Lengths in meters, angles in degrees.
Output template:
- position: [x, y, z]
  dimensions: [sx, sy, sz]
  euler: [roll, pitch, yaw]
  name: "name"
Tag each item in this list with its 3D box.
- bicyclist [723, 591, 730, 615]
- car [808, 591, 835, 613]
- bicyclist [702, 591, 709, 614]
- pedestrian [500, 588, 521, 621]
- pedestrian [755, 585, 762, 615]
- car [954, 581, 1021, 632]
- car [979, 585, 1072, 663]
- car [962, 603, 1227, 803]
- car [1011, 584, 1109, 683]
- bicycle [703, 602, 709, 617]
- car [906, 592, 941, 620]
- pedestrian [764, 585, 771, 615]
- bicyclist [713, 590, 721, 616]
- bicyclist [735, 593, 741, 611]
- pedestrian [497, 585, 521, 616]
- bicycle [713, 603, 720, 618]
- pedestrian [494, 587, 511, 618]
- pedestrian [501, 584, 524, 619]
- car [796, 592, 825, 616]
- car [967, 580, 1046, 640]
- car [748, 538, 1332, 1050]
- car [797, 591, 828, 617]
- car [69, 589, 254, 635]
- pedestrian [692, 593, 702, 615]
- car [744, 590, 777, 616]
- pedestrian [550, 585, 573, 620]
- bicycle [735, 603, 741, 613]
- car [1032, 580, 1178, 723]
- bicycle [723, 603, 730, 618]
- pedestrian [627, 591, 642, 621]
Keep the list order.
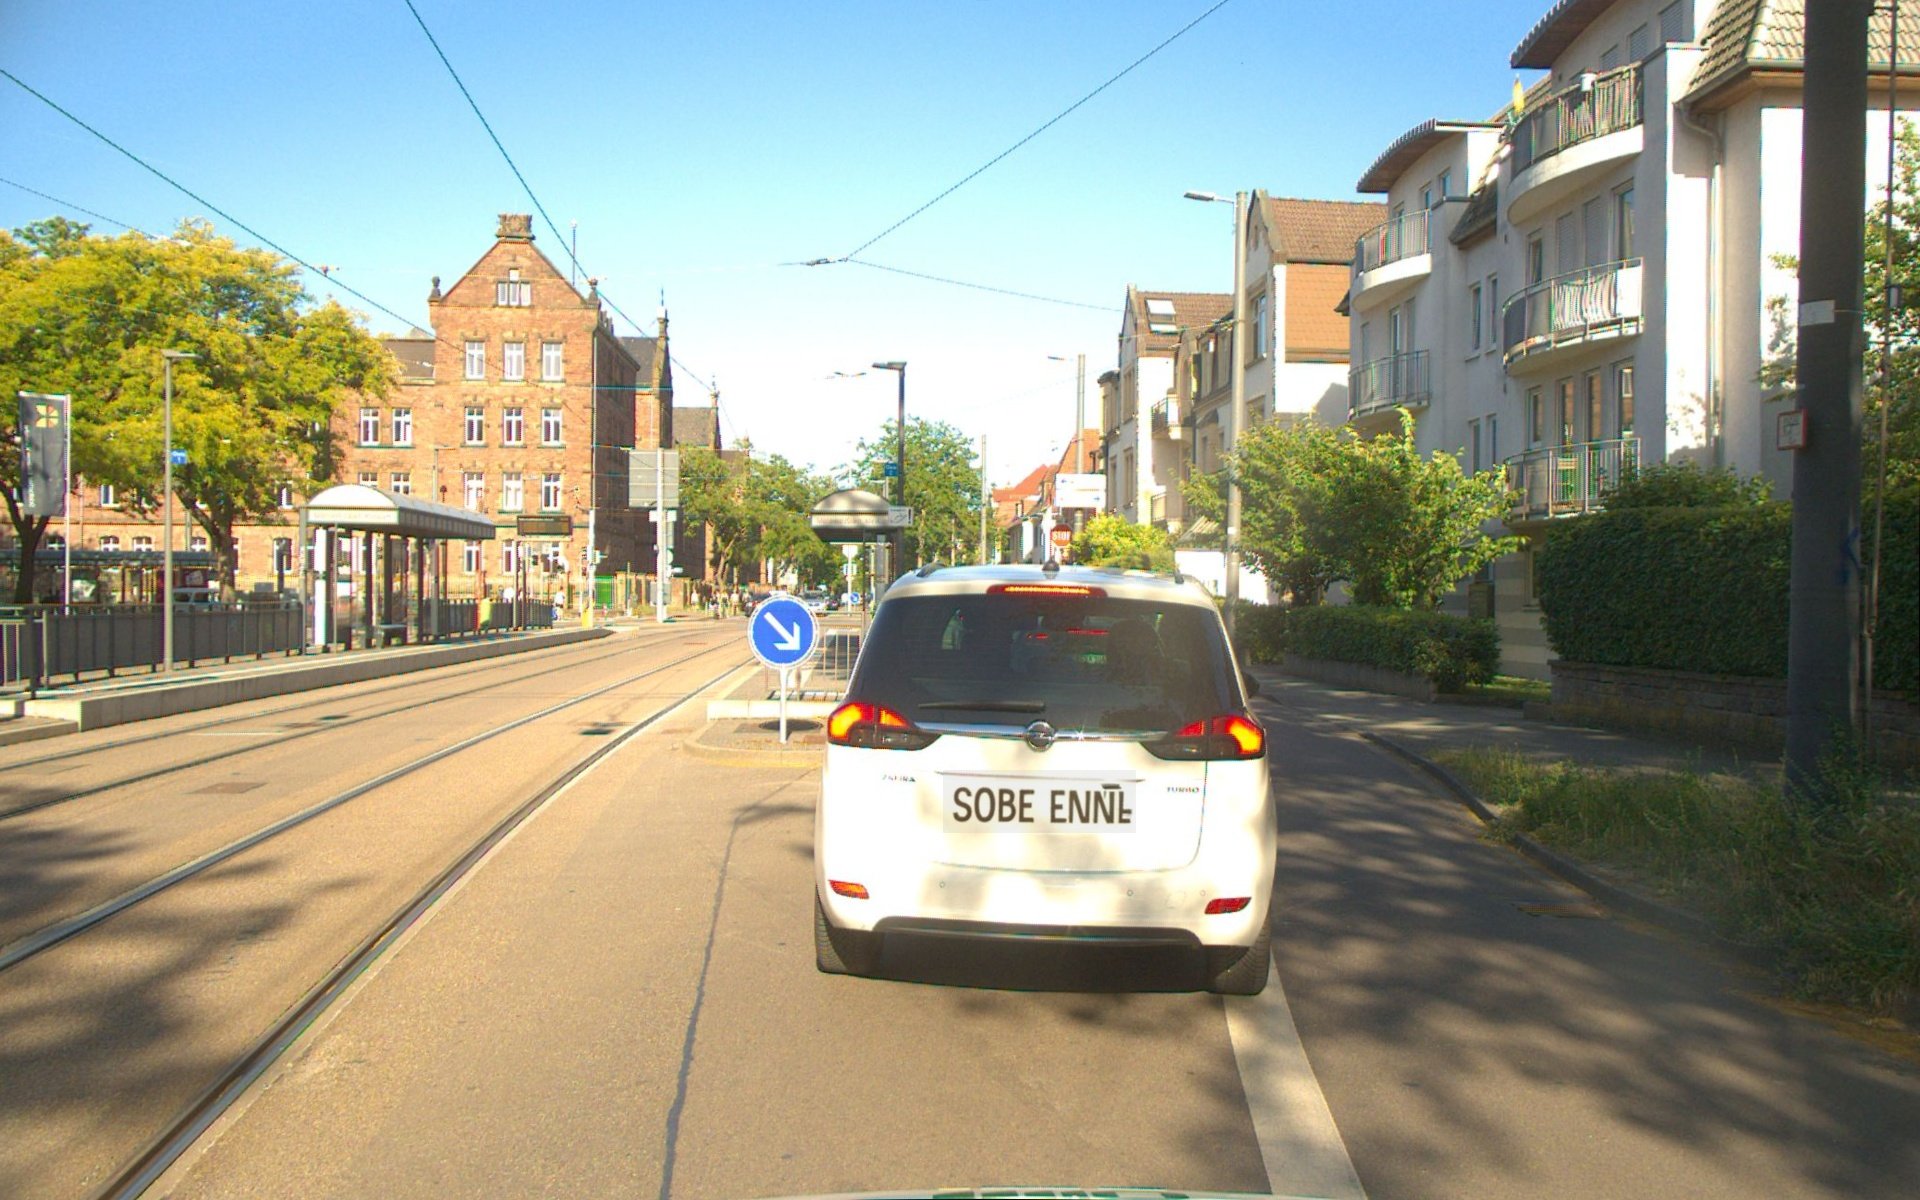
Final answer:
- position: [-15.378, 0.198, 108.912]
  dimensions: [0.435, 1.580, 0.495]
  euler: [0, 0, -4]
  name: "bicyclist"
- position: [-10.934, 0.140, 130.484]
  dimensions: [1.953, 1.657, 3.998]
  euler: [0, 0, -3]
  name: "car"
- position: [-17.643, 0.182, 114.824]
  dimensions: [0.435, 1.580, 0.495]
  euler: [0, 0, -4]
  name: "bicyclist"
- position: [-22.474, 0.209, 82.742]
  dimensions: [0.786, 1.616, 0.934]
  euler: [1, 0, -3]
  name: "pedestrian"
- position: [-13.641, 0.005, 111.740]
  dimensions: [0.435, 2.049, 0.495]
  euler: [0, 0, -4]
  name: "pedestrian"
- position: [0.829, 0.191, 51.767]
  dimensions: [1.953, 1.529, 3.999]
  euler: [0, 0, -1]
  name: "car"
- position: [1.378, 0.492, 36.190]
  dimensions: [1.793, 1.607, 4.009]
  euler: [0, 0, -1]
  name: "car"
- position: [1.027, 0.748, 13.984]
  dimensions: [1.912, 1.422, 4.001]
  euler: [0, 0, 1]
  name: "car"
- position: [1.712, 0.550, 29.271]
  dimensions: [1.603, 1.629, 3.855]
  euler: [0, 0, 1]
  name: "car"
- position: [-17.649, 0.658, 114.860]
  dimensions: [0.337, 0.966, 0.996]
  euler: [1, 0, -4]
  name: "bicycle"
- position: [-2.203, 0.346, 98.818]
  dimensions: [1.954, 1.657, 3.997]
  euler: [0, 0, -4]
  name: "car"
- position: [-13.049, 0.016, 112.051]
  dimensions: [0.435, 2.049, 0.495]
  euler: [0, 0, -4]
  name: "pedestrian"
- position: [-15.149, 0.176, 103.049]
  dimensions: [0.435, 1.580, 0.742]
  euler: [0, 0, -4]
  name: "bicyclist"
- position: [-16.494, 0.175, 122.895]
  dimensions: [0.352, 1.326, 0.397]
  euler: [0, 0, -4]
  name: "bicyclist"
- position: [-23.814, 0.049, 87.382]
  dimensions: [0.913, 1.616, 0.804]
  euler: [1, -1, 22]
  name: "pedestrian"
- position: [-15.158, 0.651, 102.840]
  dimensions: [0.337, 0.966, 1.159]
  euler: [1, 0, -4]
  name: "bicycle"
- position: [-24.102, 0.113, 87.115]
  dimensions: [0.788, 1.616, 0.932]
  euler: [1, -1, -13]
  name: "pedestrian"
- position: [-21.983, 0.084, 81.322]
  dimensions: [0.825, 1.721, 1.029]
  euler: [1, 0, -1]
  name: "pedestrian"
- position: [-10.346, 0.260, 114.254]
  dimensions: [1.955, 1.657, 3.996]
  euler: [0, 0, -5]
  name: "car"
- position: [1.199, 0.257, 44.312]
  dimensions: [1.953, 1.529, 3.999]
  euler: [0, 0, -1]
  name: "car"
- position: [0.453, 0.648, 7.596]
  dimensions: [1.951, 1.673, 3.996]
  euler: [1, 0, 6]
  name: "car"
- position: [-9.542, 0.244, 107.160]
  dimensions: [1.955, 1.657, 3.996]
  euler: [0, 0, -5]
  name: "car"
- position: [-35.724, 0.530, 74.193]
  dimensions: [6.810, 1.954, 2.991]
  euler: [0, 0, -2]
  name: "car"
- position: [-20.964, 0.334, 131.674]
  dimensions: [0.720, 1.744, 0.753]
  euler: [1, -1, -6]
  name: "pedestrian"
- position: [-12.852, 0.194, 106.887]
  dimensions: [1.955, 1.657, 3.996]
  euler: [0, 0, -5]
  name: "car"
- position: [-19.706, 0.118, 81.752]
  dimensions: [0.877, 1.713, 1.029]
  euler: [1, 0, -1]
  name: "pedestrian"
- position: [-16.494, 0.568, 122.927]
  dimensions: [0.337, 0.737, 0.996]
  euler: [1, 0, -4]
  name: "bicycle"
- position: [1.738, 0.585, 20.843]
  dimensions: [1.603, 1.629, 3.855]
  euler: [0, 0, 1]
  name: "car"
- position: [-15.388, 0.672, 108.919]
  dimensions: [0.337, 0.966, 0.996]
  euler: [1, 0, -4]
  name: "bicycle"
- position: [-19.213, 0.363, 97.546]
  dimensions: [0.719, 1.744, 0.706]
  euler: [1, -1, -1]
  name: "pedestrian"
